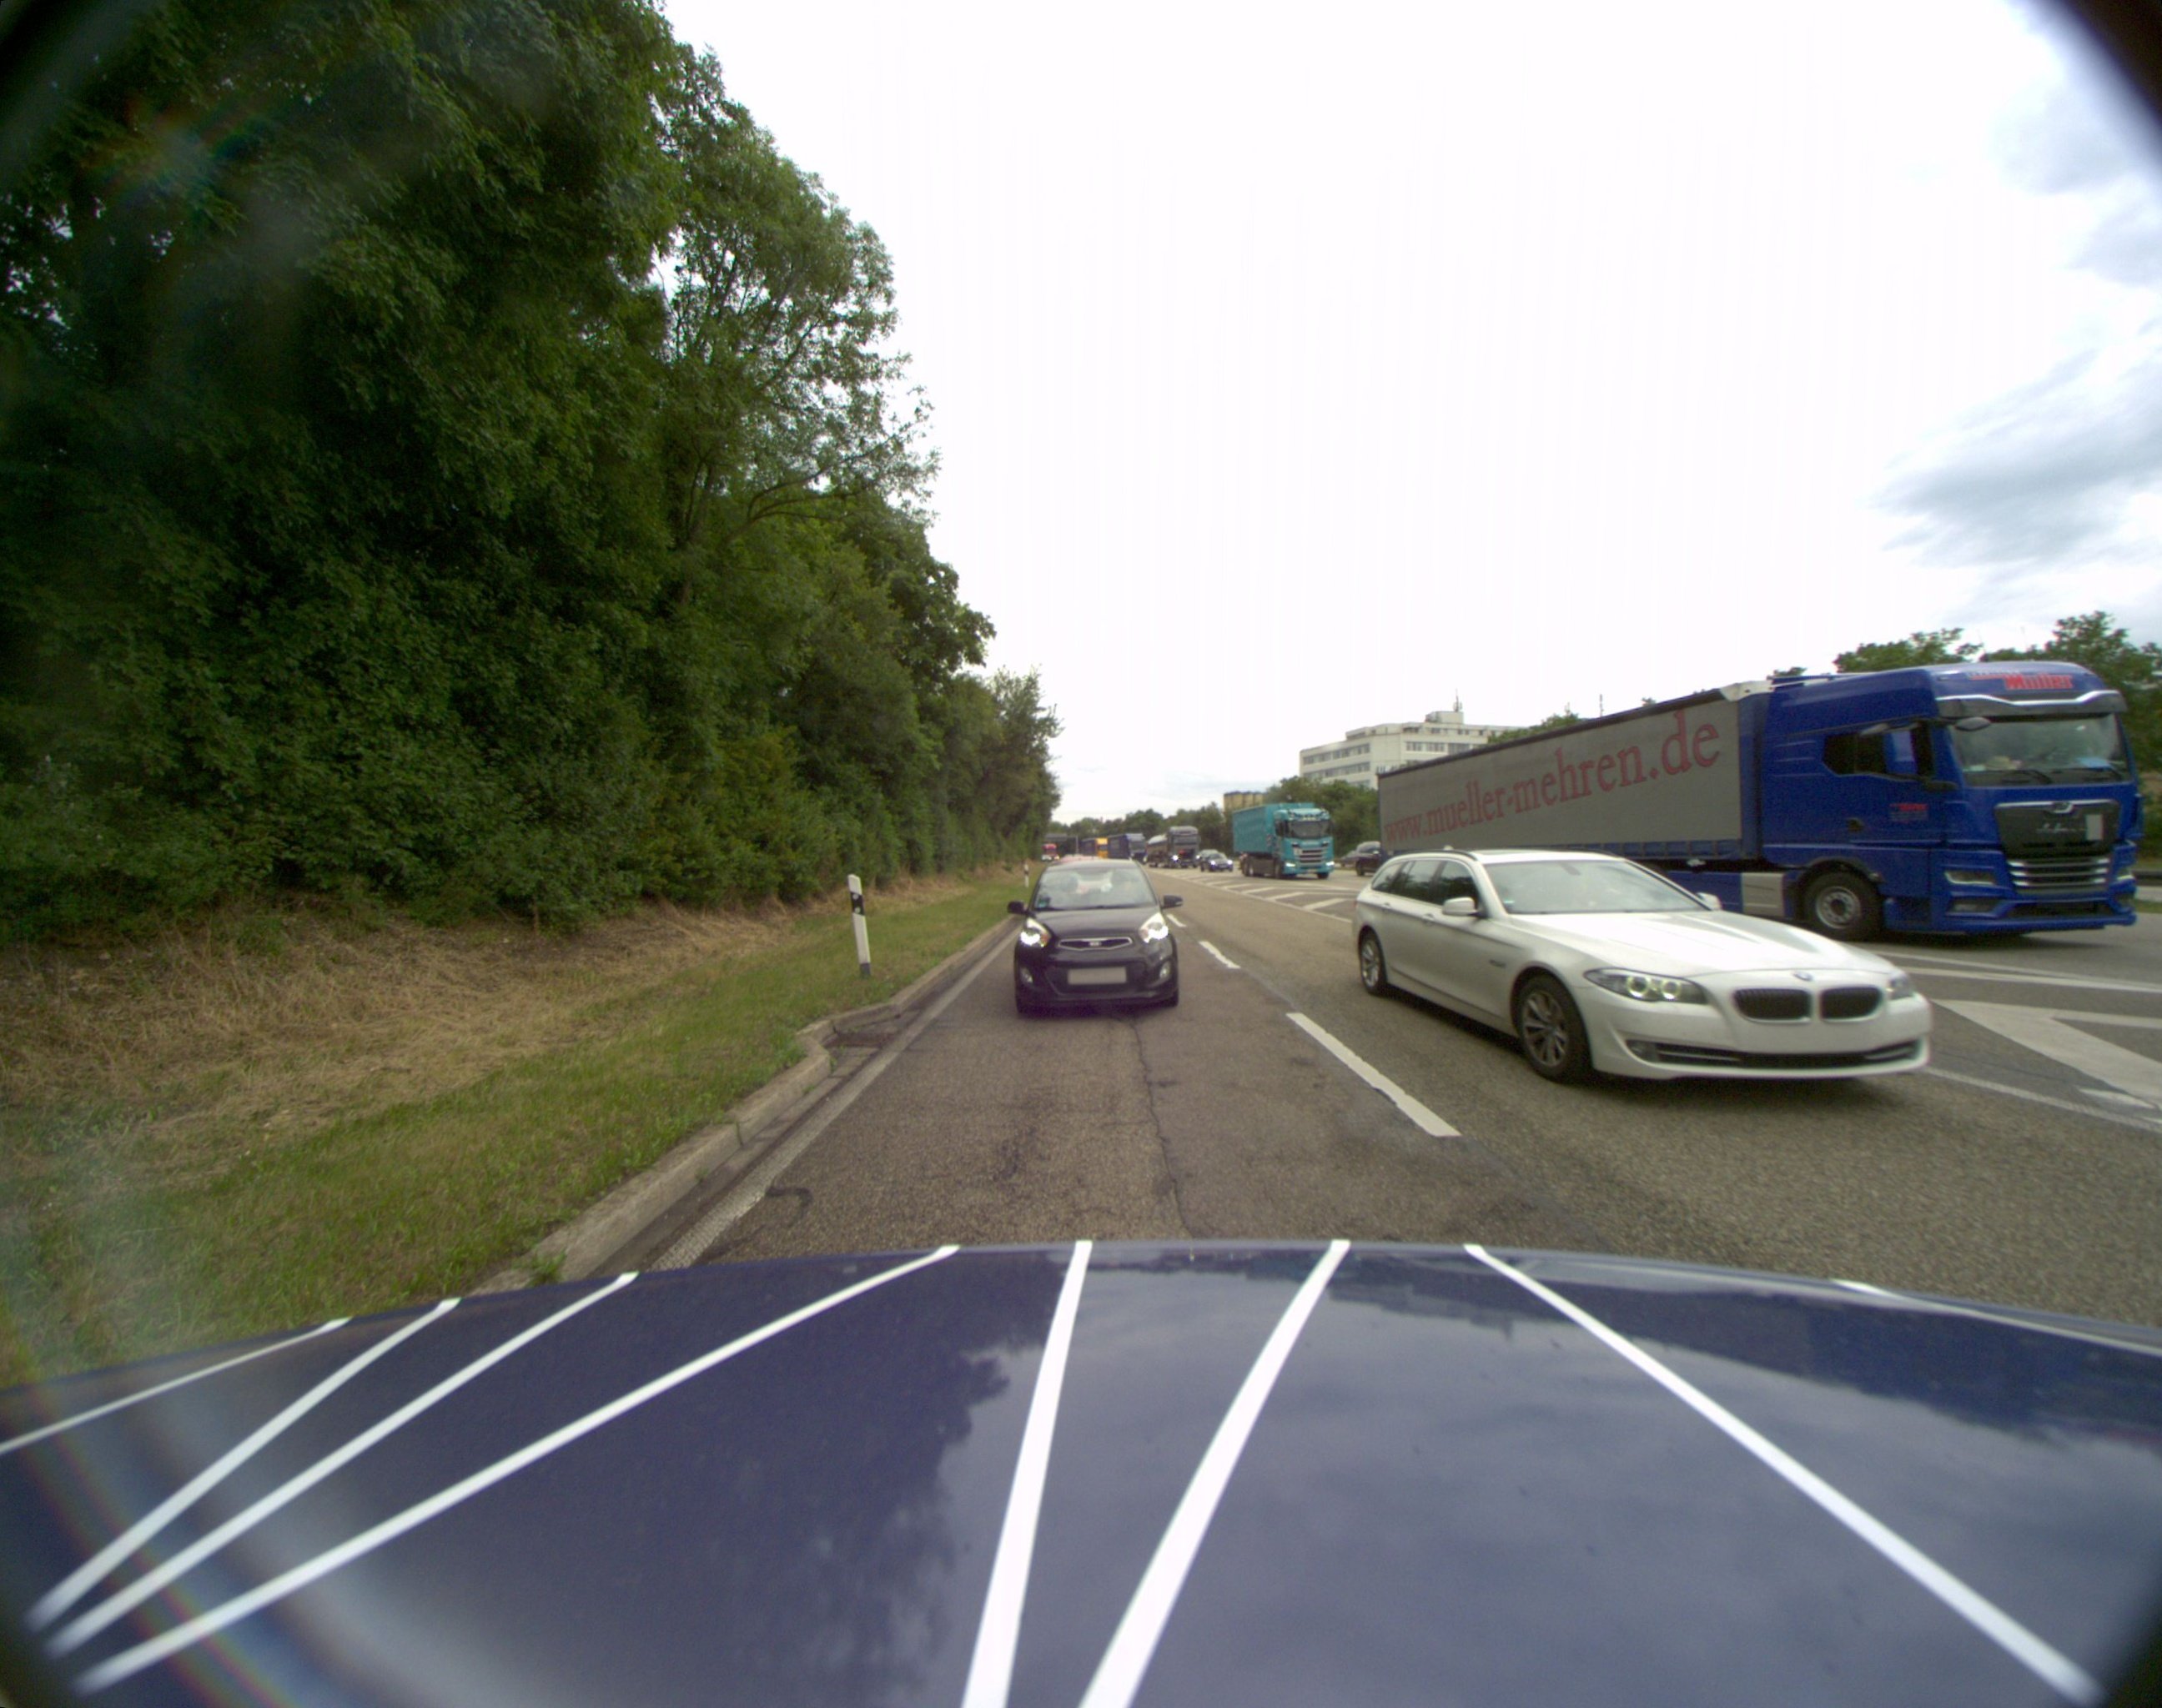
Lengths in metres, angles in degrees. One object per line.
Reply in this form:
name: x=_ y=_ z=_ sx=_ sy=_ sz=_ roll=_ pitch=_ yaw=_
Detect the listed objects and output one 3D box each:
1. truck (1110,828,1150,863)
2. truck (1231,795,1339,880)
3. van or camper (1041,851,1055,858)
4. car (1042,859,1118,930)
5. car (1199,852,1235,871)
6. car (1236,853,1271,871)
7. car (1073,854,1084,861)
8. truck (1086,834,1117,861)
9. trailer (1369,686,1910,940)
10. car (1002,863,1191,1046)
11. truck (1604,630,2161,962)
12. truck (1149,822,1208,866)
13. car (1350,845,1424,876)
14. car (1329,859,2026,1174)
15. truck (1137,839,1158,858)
truck: x=6.434 y=-1.071 z=101.662 sx=2.815 sy=4.206 sz=13.998 roll=-2 pitch=0 yaw=-6
truck: x=10.716 y=-0.813 z=41.235 sx=2.700 sy=3.977 sz=10.122 roll=-2 pitch=0 yaw=-2
van or camper: x=-6.991 y=0.089 z=162.439 sx=2.348 sy=1.276 sz=4.468 roll=-1 pitch=0 yaw=-10
car: x=-0.018 y=0.891 z=18.359 sx=1.630 sy=1.492 sz=3.564 roll=-1 pitch=0 yaw=0
car: x=10.097 y=0.504 z=56.506 sx=1.757 sy=1.314 sz=3.999 roll=-2 pitch=0 yaw=-3
car: x=14.611 y=0.634 z=64.680 sx=1.898 sy=1.425 sz=4.054 roll=-1 pitch=0 yaw=-3
car: x=-0.458 y=0.642 z=147.684 sx=1.636 sy=1.328 sz=3.192 roll=-1 pitch=0 yaw=-10
truck: x=3.332 y=-1.008 z=127.315 sx=2.848 sy=4.206 sz=14.111 roll=-2 pitch=0 yaw=-8
trailer: x=11.494 y=-0.674 z=18.952 sx=2.680 sy=3.951 sz=13.915 roll=-2 pitch=0 yaw=-3
car: x=0.179 y=0.893 z=8.548 sx=1.584 sy=1.485 sz=4.000 roll=-2 pitch=0 yaw=1
truck: x=11.814 y=-0.712 z=12.100 sx=2.676 sy=3.938 sz=5.925 roll=-2 pitch=0 yaw=-3
truck: x=9.444 y=-0.944 z=75.461 sx=3.328 sy=3.902 sz=13.140 roll=-2 pitch=0 yaw=-3
car: x=15.217 y=0.301 z=38.033 sx=1.898 sy=1.425 sz=3.999 roll=-1 pitch=0 yaw=-3
car: x=3.780 y=0.831 z=6.231 sx=1.863 sy=1.455 sz=4.884 roll=-2 pitch=0 yaw=0
truck: x=13.529 y=-1.082 z=154.913 sx=2.001 sy=3.739 sz=7.538 roll=-1 pitch=0 yaw=-13
